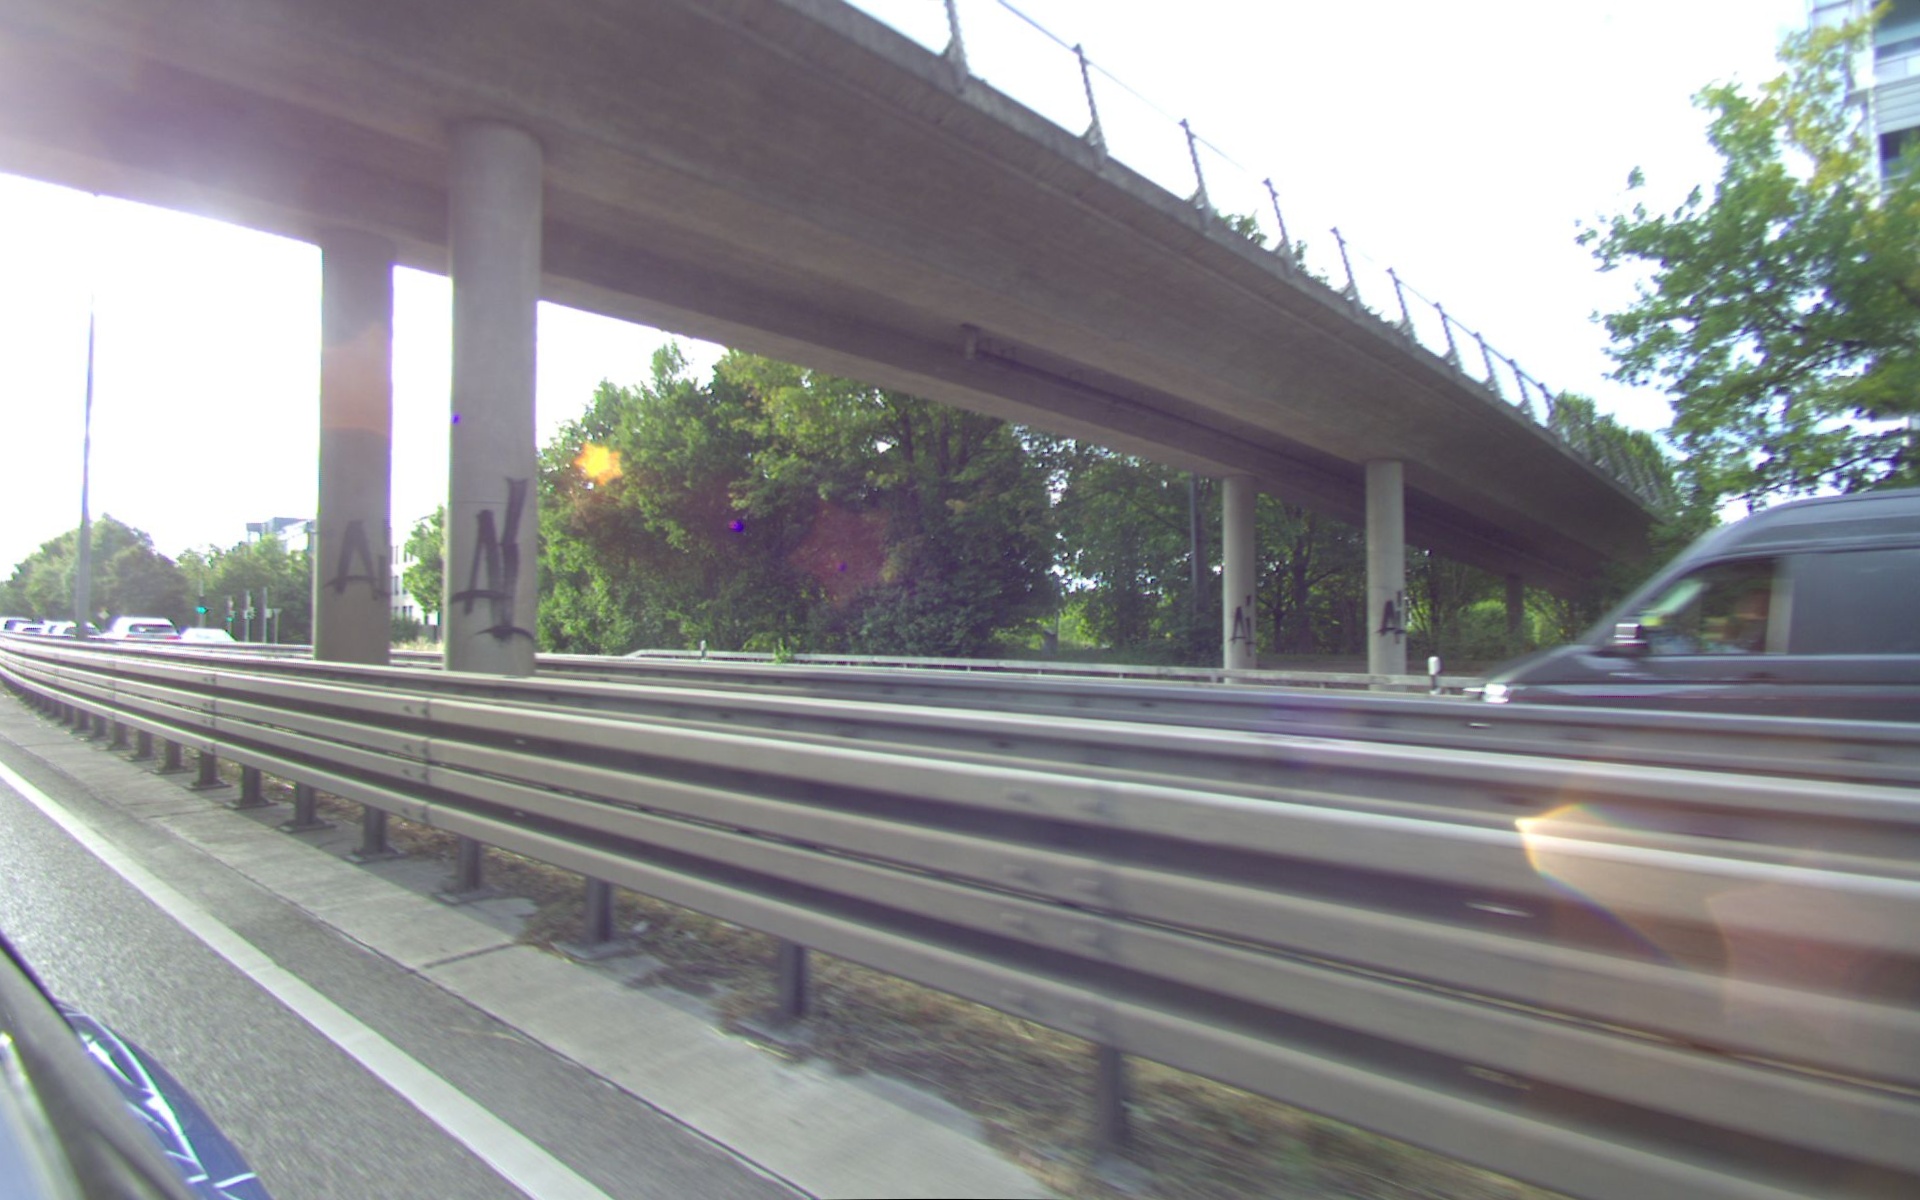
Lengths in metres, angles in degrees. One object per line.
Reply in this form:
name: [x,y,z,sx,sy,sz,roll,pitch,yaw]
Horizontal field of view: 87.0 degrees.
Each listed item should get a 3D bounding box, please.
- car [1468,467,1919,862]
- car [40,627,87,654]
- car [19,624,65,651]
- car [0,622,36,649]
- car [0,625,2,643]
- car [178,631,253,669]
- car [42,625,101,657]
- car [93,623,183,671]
car: [7.522,0.416,6.862,6.939,2.556,2.225,-1,-2,42]
car: [-48.897,2.213,55.204,3.462,1.371,1.539,-2,-1,42]
car: [-57.541,2.308,63.436,4.553,1.601,1.694,-1,-2,42]
car: [-70.727,2.623,75.804,5.051,1.931,1.877,-1,-1,44]
car: [-99.652,3.494,103.615,5.346,1.886,1.913,-1,-1,42]
car: [-32.444,2.175,44.078,4.397,1.548,1.814,-1,-4,43]
car: [-42.472,1.921,48.366,3.733,1.478,1.700,-1,-2,42]
car: [-29.628,1.644,36.423,4.789,1.596,1.803,-1,-2,42]
